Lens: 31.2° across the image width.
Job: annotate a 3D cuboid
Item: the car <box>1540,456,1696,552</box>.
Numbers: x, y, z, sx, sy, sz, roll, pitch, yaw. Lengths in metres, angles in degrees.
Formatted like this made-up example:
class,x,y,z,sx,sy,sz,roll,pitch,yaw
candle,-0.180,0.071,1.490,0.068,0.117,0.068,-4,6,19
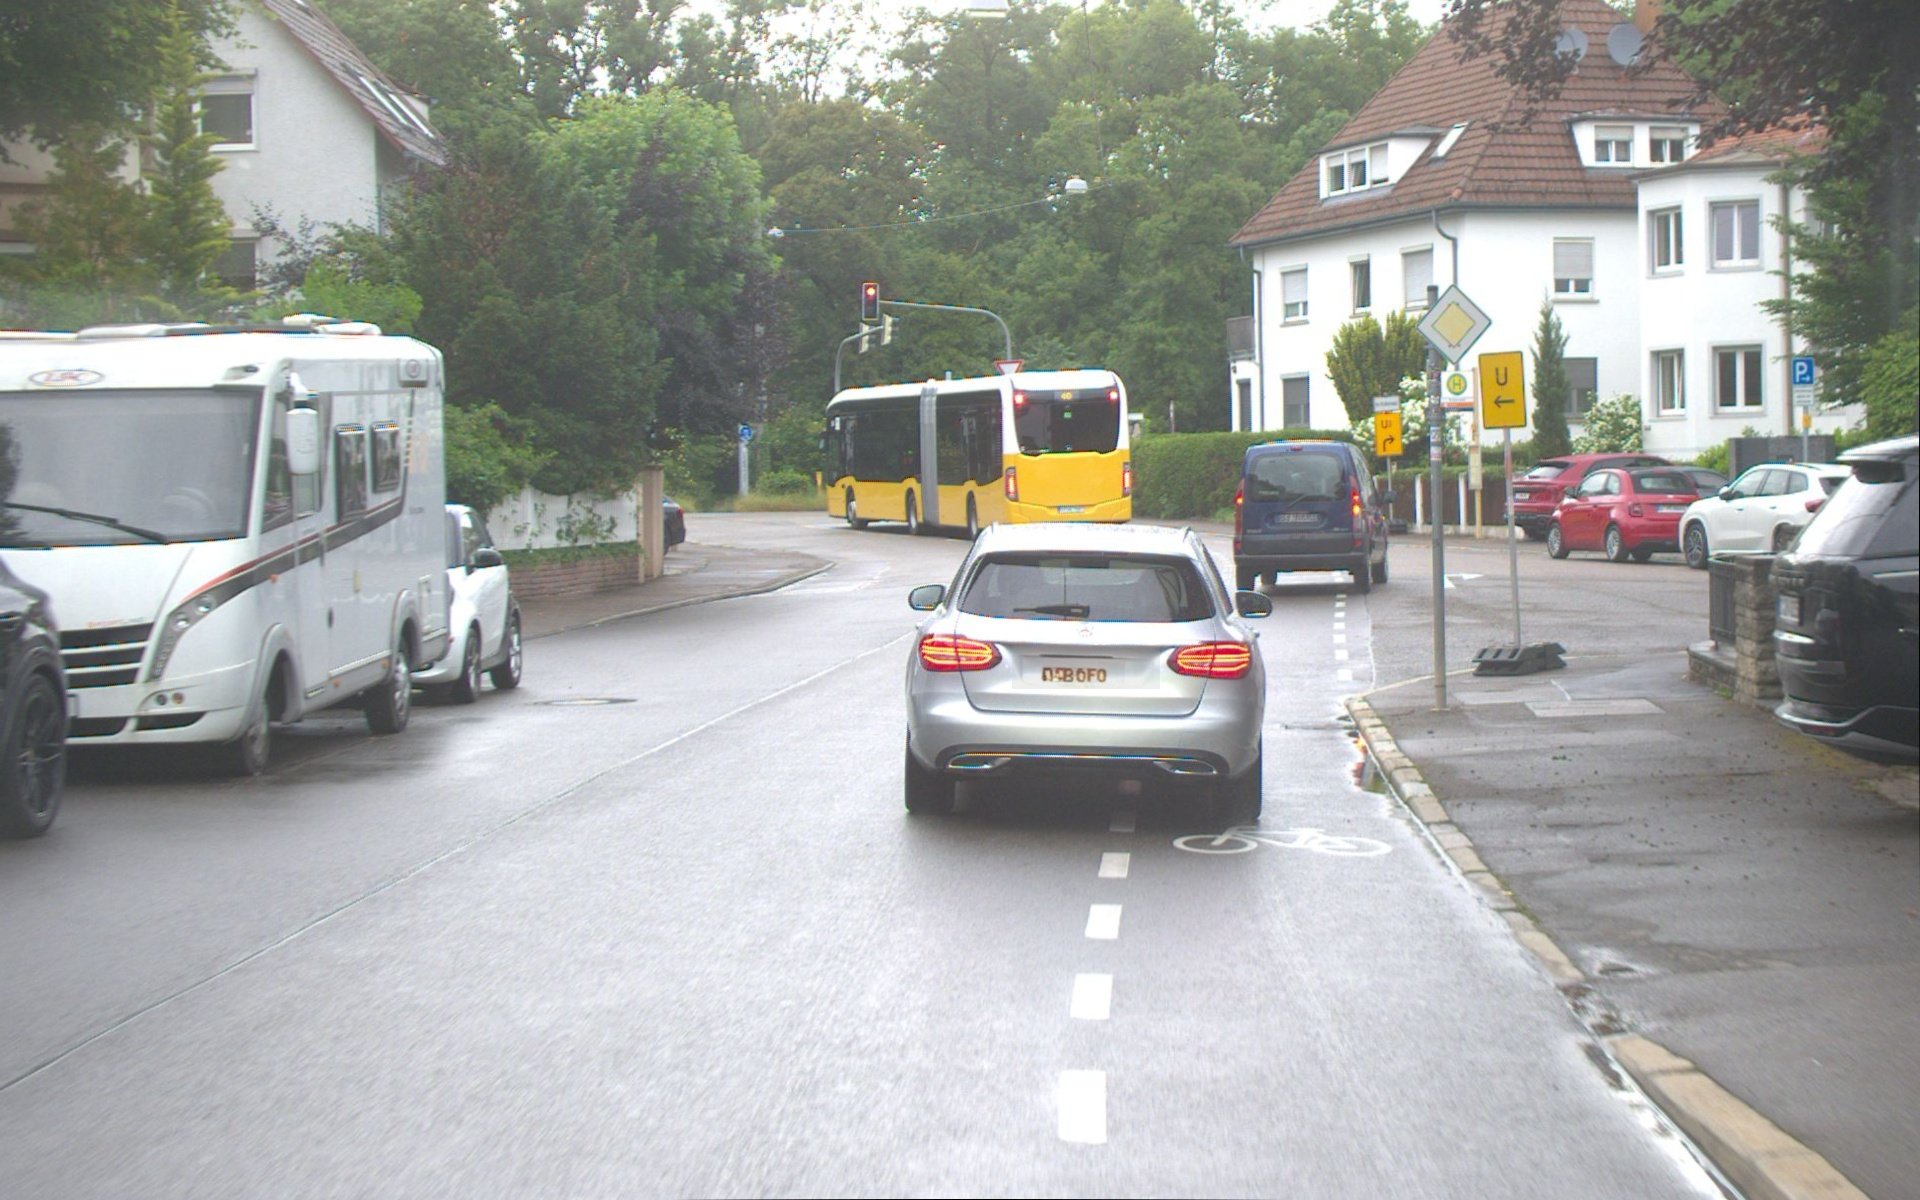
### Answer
class,x,y,z,sx,sy,sz,roll,pitch,yaw
car,10.559,-1.563,55.331,1.205,1.446,3.023,0,3,-16

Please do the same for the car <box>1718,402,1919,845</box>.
class,x,y,z,sx,sy,sz,roll,pitch,yaw
car,6.029,-0.044,15.611,4.662,1.868,2.000,-3,2,1

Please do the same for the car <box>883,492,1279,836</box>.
class,x,y,z,sx,sy,sz,roll,pitch,yaw
car,0.703,0.232,17.937,1.816,1.551,4.000,1,2,4

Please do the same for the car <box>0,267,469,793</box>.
class,x,y,z,sx,sy,sz,roll,pitch,yaw
car,-4.888,-0.550,21.449,2.391,2.762,6.532,1,3,3

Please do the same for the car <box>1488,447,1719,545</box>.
class,x,y,z,sx,sy,sz,roll,pitch,yaw
car,12.324,-2.002,65.952,3.986,1.787,1.759,0,4,-6

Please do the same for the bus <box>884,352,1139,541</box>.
class,x,y,z,sx,sy,sz,roll,pitch,yaw
bus,0.893,-3.288,71.342,2.927,3.638,10.173,0,4,-13

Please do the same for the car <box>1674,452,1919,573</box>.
class,x,y,z,sx,sy,sz,roll,pitch,yaw
car,12.212,-1.313,50.206,1.806,1.603,4.066,0,4,-15

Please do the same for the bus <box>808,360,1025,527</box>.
class,x,y,z,sx,sy,sz,roll,pitch,yaw
bus,-1.167,-3.756,80.333,2.927,3.638,10.307,0,4,-13

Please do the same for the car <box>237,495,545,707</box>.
class,x,y,z,sx,sy,sz,roll,pitch,yaw
car,-4.422,-0.040,27.137,1.713,1.442,3.255,1,4,3

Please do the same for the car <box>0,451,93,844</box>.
class,x,y,z,sx,sy,sz,roll,pitch,yaw
car,-5.247,0.277,14.026,1.994,1.682,4.677,1,4,3

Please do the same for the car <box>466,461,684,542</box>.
class,x,y,z,sx,sy,sz,roll,pitch,yaw
car,-7.178,-1.853,64.315,3.986,1.415,1.888,0,4,-6

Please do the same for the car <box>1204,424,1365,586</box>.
class,x,y,z,sx,sy,sz,roll,pitch,yaw
car,3.958,-1.158,42.440,1.843,1.897,4.000,0,1,4
